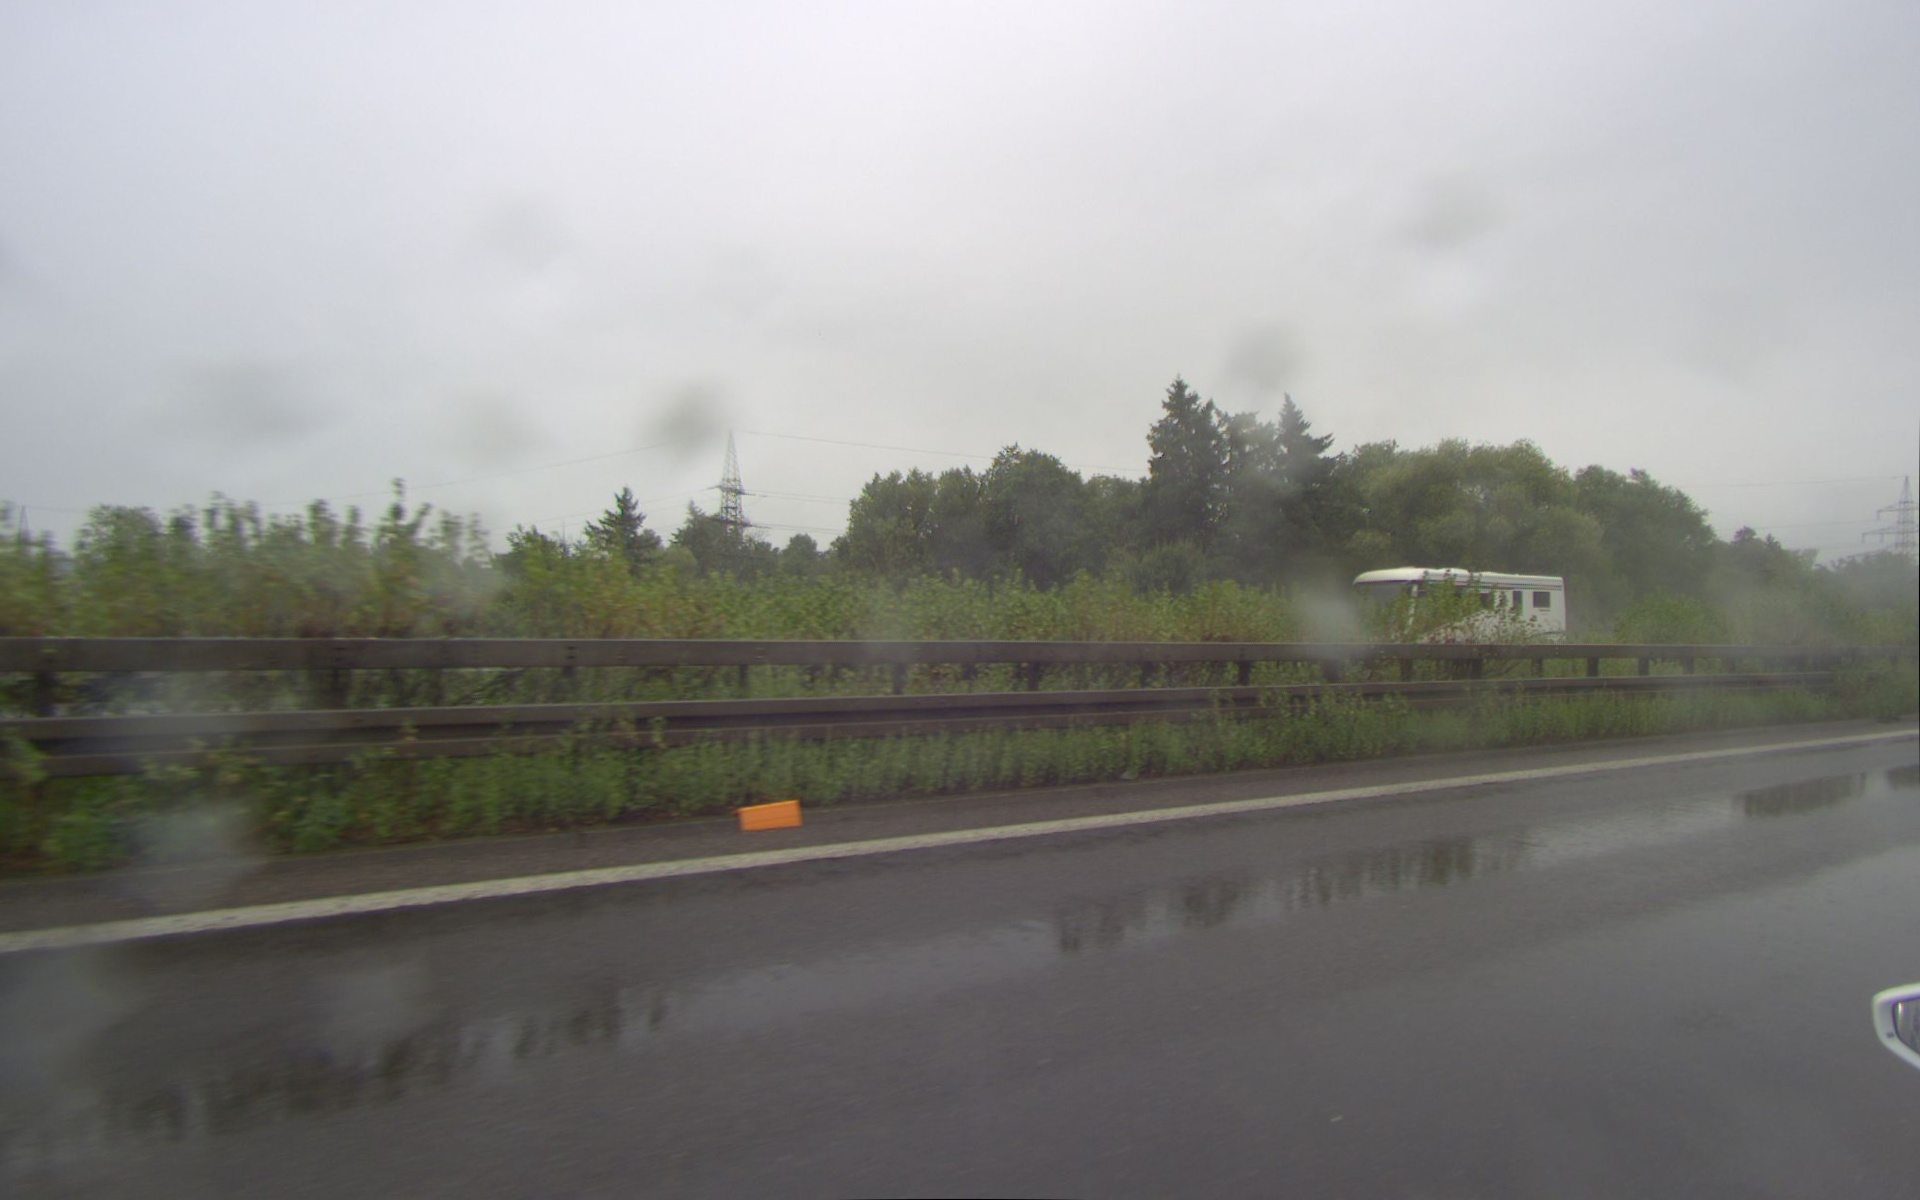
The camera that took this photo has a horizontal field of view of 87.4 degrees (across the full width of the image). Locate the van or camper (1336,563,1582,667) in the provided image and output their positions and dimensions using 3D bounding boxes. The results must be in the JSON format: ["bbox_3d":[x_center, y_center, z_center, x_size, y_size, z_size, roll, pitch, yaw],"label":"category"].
[{"bbox_3d":[17.023,0.545,33.970,9.405,3.127,2.873,1,0,-31],"label":"van or camper"}]
